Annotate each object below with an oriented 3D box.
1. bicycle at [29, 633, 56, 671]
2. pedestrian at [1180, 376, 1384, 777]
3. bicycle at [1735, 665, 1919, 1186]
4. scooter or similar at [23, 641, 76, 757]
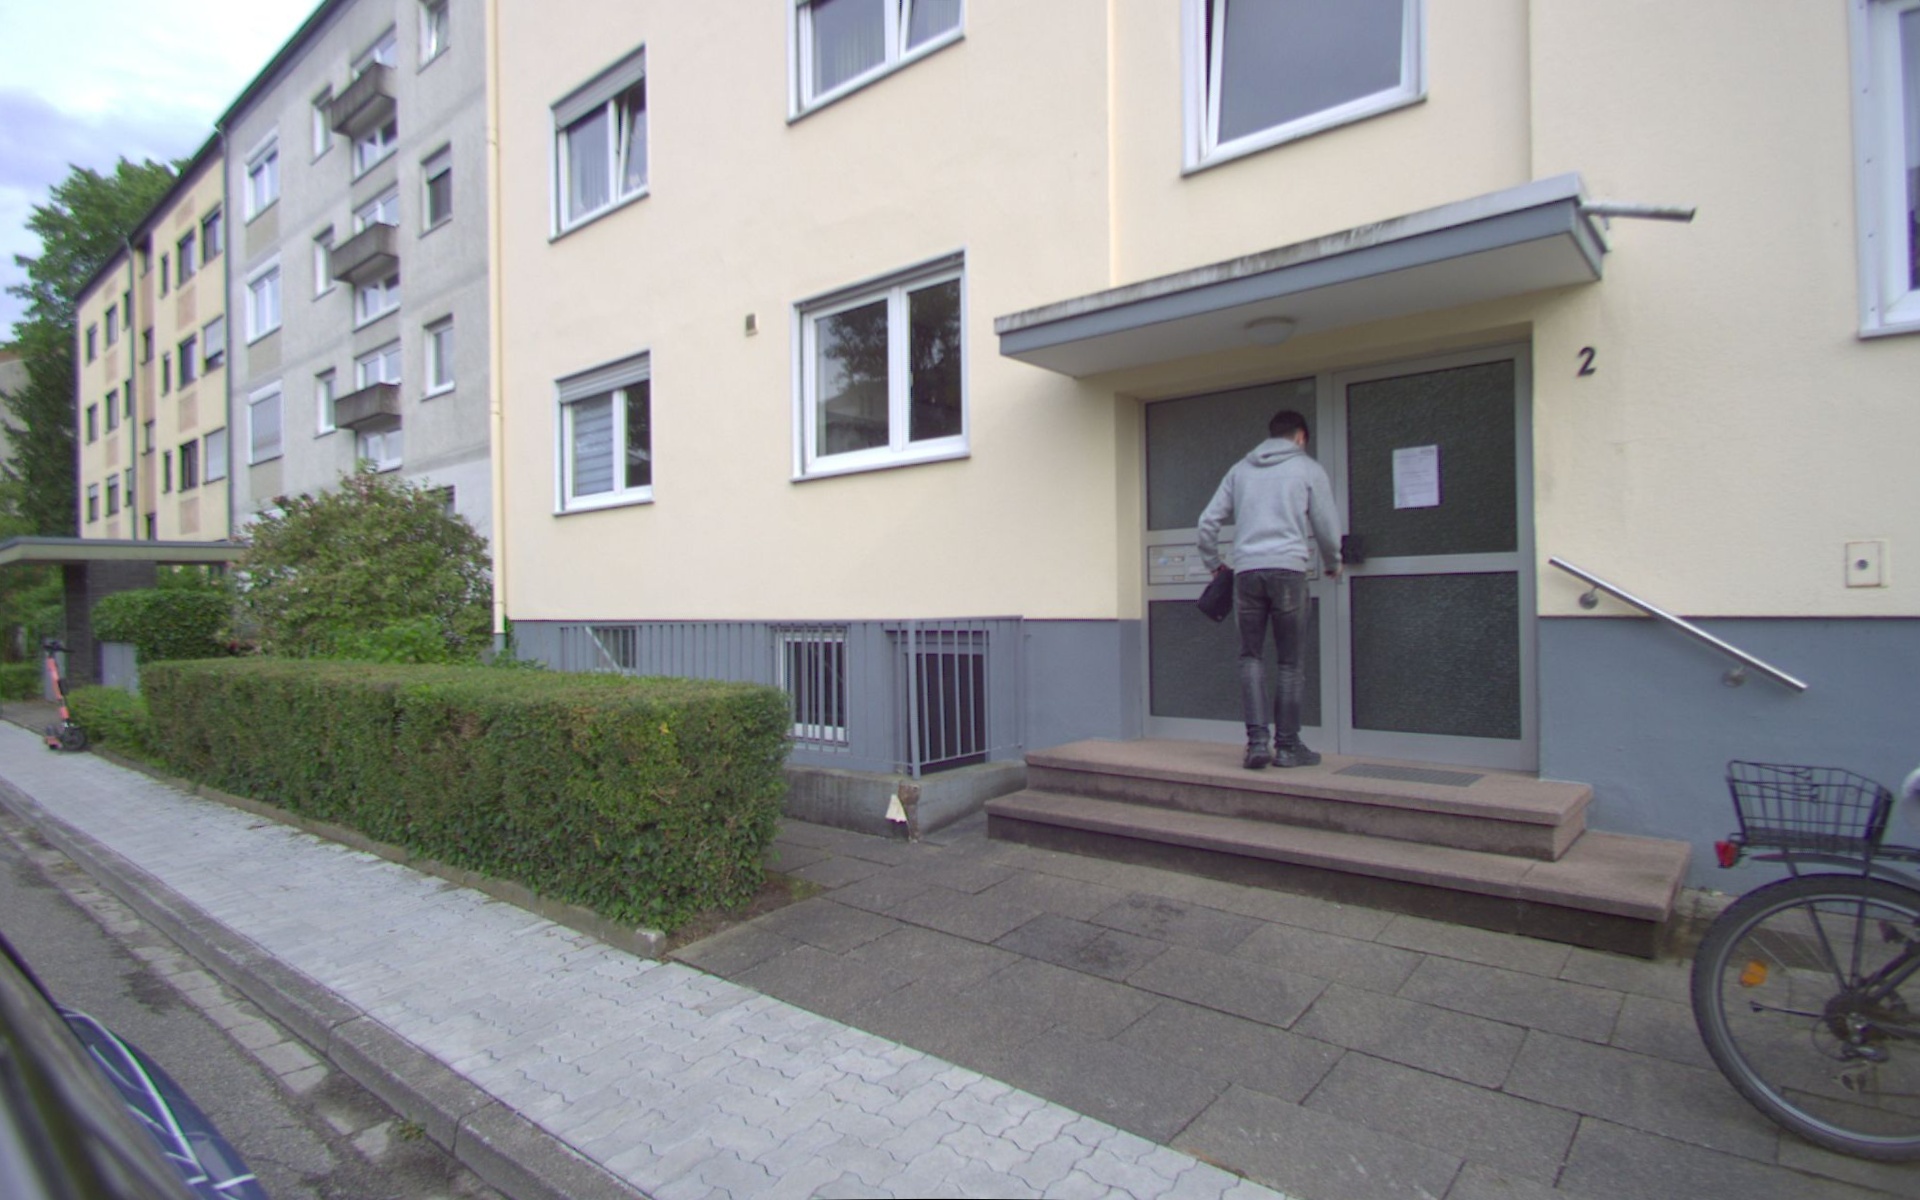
[{"bbox_3d":[-26.579,1.501,29.314,1.689,1.059,0.312,-4,-3,39],"label":"bicycle"},{"bbox_3d":[1.578,-0.100,4.938,0.754,1.762,0.673,-2,0,34],"label":"pedestrian"},{"bbox_3d":[2.452,0.704,2.014,1.417,1.084,0.315,-1,0,41],"label":"bicycle"},{"bbox_3d":[-10.101,1.072,11.220,1.163,1.220,0.270,-2,-1,40],"label":"scooter or similar"}]
